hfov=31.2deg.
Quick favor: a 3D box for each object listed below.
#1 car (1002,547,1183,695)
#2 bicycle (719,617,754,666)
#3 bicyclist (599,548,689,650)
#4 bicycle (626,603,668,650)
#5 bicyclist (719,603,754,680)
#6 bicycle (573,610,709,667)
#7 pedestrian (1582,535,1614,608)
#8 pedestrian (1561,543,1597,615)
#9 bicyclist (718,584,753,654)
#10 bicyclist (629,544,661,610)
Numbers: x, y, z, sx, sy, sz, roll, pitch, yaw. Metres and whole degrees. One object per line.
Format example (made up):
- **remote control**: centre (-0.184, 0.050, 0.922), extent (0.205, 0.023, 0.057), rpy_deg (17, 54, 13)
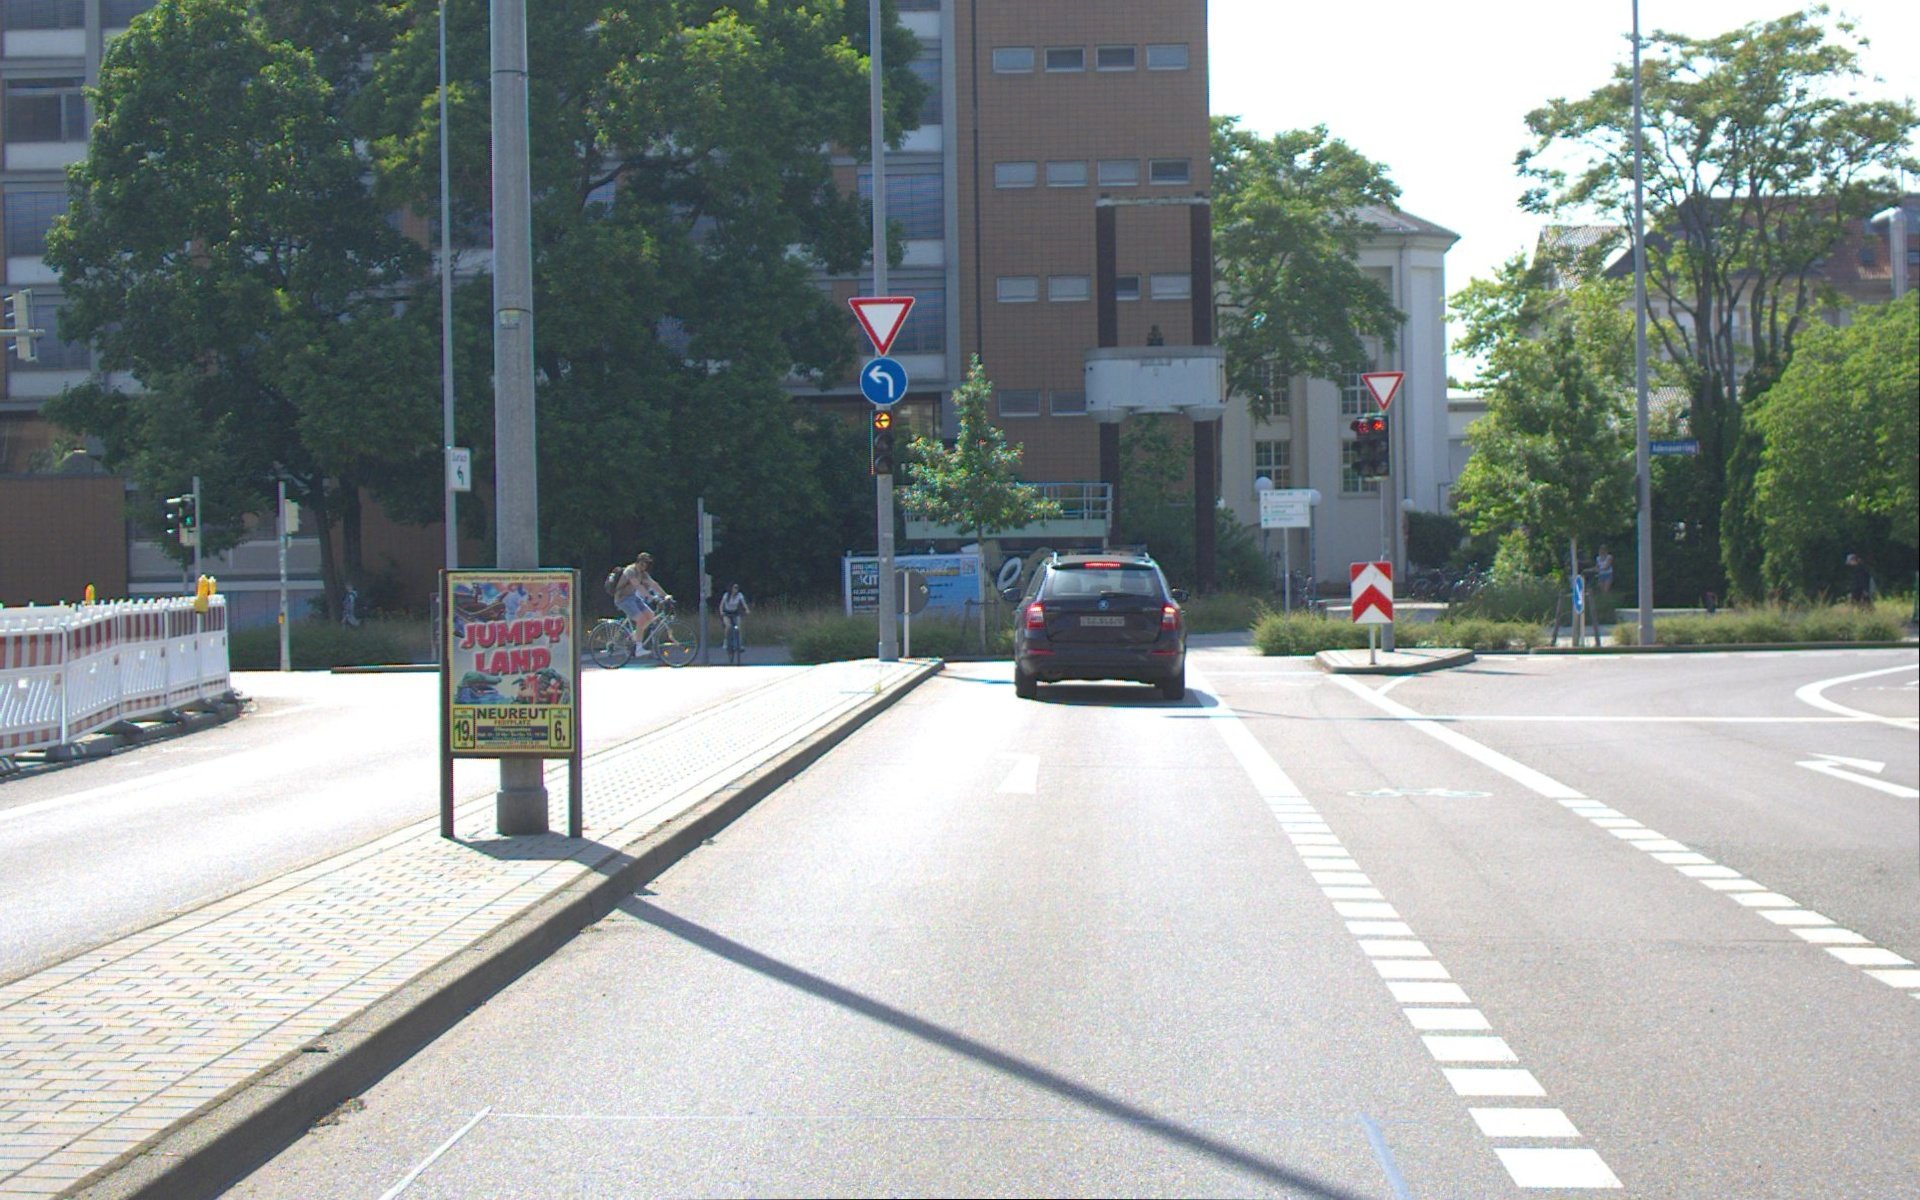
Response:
- **car**: centre (1.403, 0.186, 35.891), extent (1.780, 1.438, 3.817), rpy_deg (1, 1, 3)
- **bicycle**: centre (-4.706, 0.870, 72.450), extent (0.618, 0.957, 1.968), rpy_deg (-4, 1, -2)
- **bicyclist**: centre (-4.635, -0.021, 50.476), extent (1.166, 1.469, 0.564), rpy_deg (-1, 1, 15)
- **bicycle**: centre (-6.839, 0.583, 75.225), extent (0.704, 0.974, 2.031), rpy_deg (-1, 1, 1)
- **bicyclist**: centre (-4.705, 0.870, 72.450), extent (0.618, 1.576, 1.014), rpy_deg (-4, 1, -2)
- **bicycle**: centre (-4.683, 0.567, 50.508), extent (1.891, 0.790, 0.560), rpy_deg (-1, 2, 15)
- **pedestrian**: centre (16.745, -0.746, 90.261), extent (0.637, 1.868, 0.796), rpy_deg (-3, 1, 2)
- **pedestrian**: centre (16.439, -0.562, 91.313), extent (0.794, 1.868, 0.638), rpy_deg (-2, 1, 16)
- **bicyclist**: centre (-4.734, 0.397, 72.447), extent (0.618, 1.438, 0.921), rpy_deg (-4, 1, -2)
- **bicyclist**: centre (-6.870, -0.495, 74.912), extent (0.539, 1.412, 1.030), rpy_deg (-2, 0, 1)
